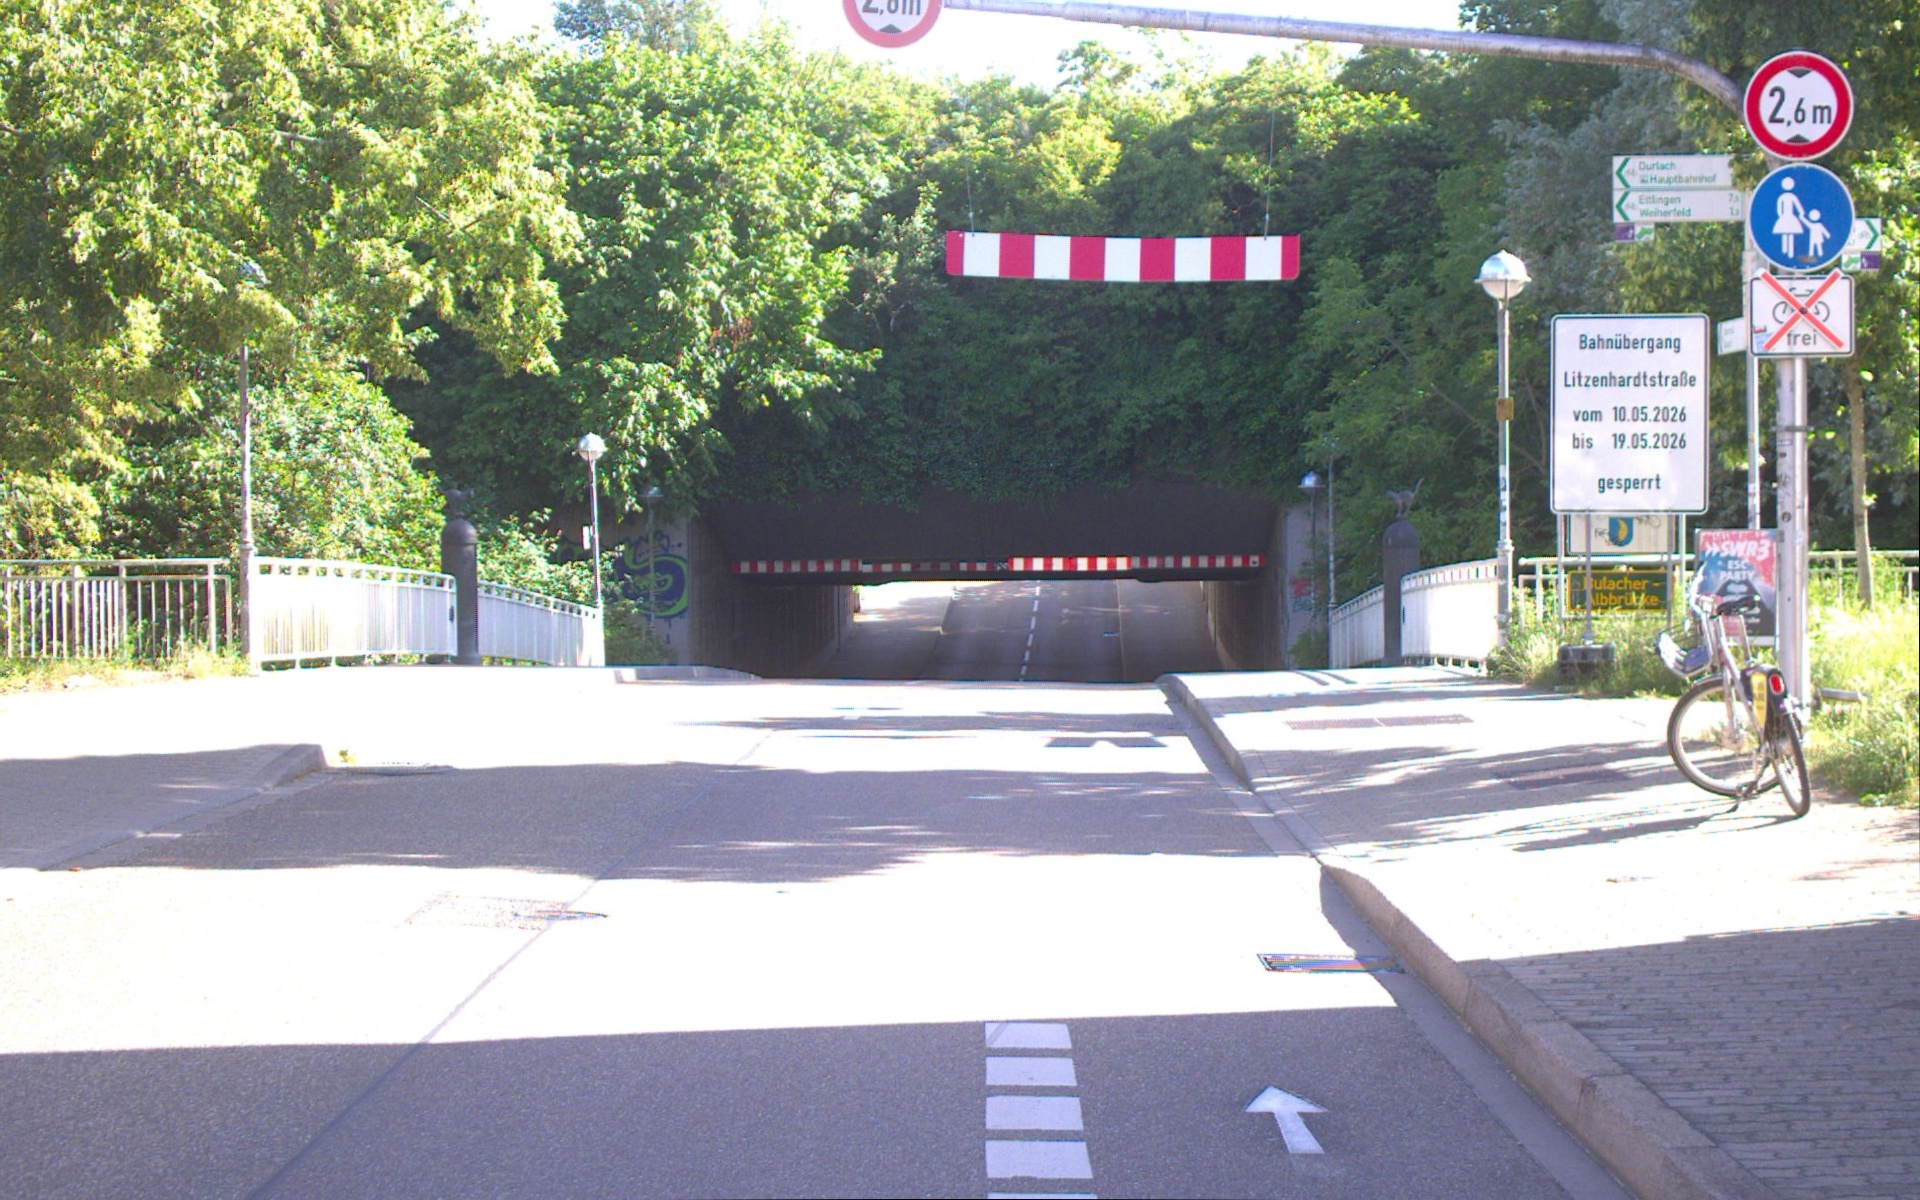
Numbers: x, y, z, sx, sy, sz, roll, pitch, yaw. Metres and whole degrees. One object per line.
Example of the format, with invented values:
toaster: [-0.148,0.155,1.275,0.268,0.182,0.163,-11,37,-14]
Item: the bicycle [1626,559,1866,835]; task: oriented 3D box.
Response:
bicycle: [3.667,0.425,16.157,0.688,1.153,1.539,-5,2,0]
